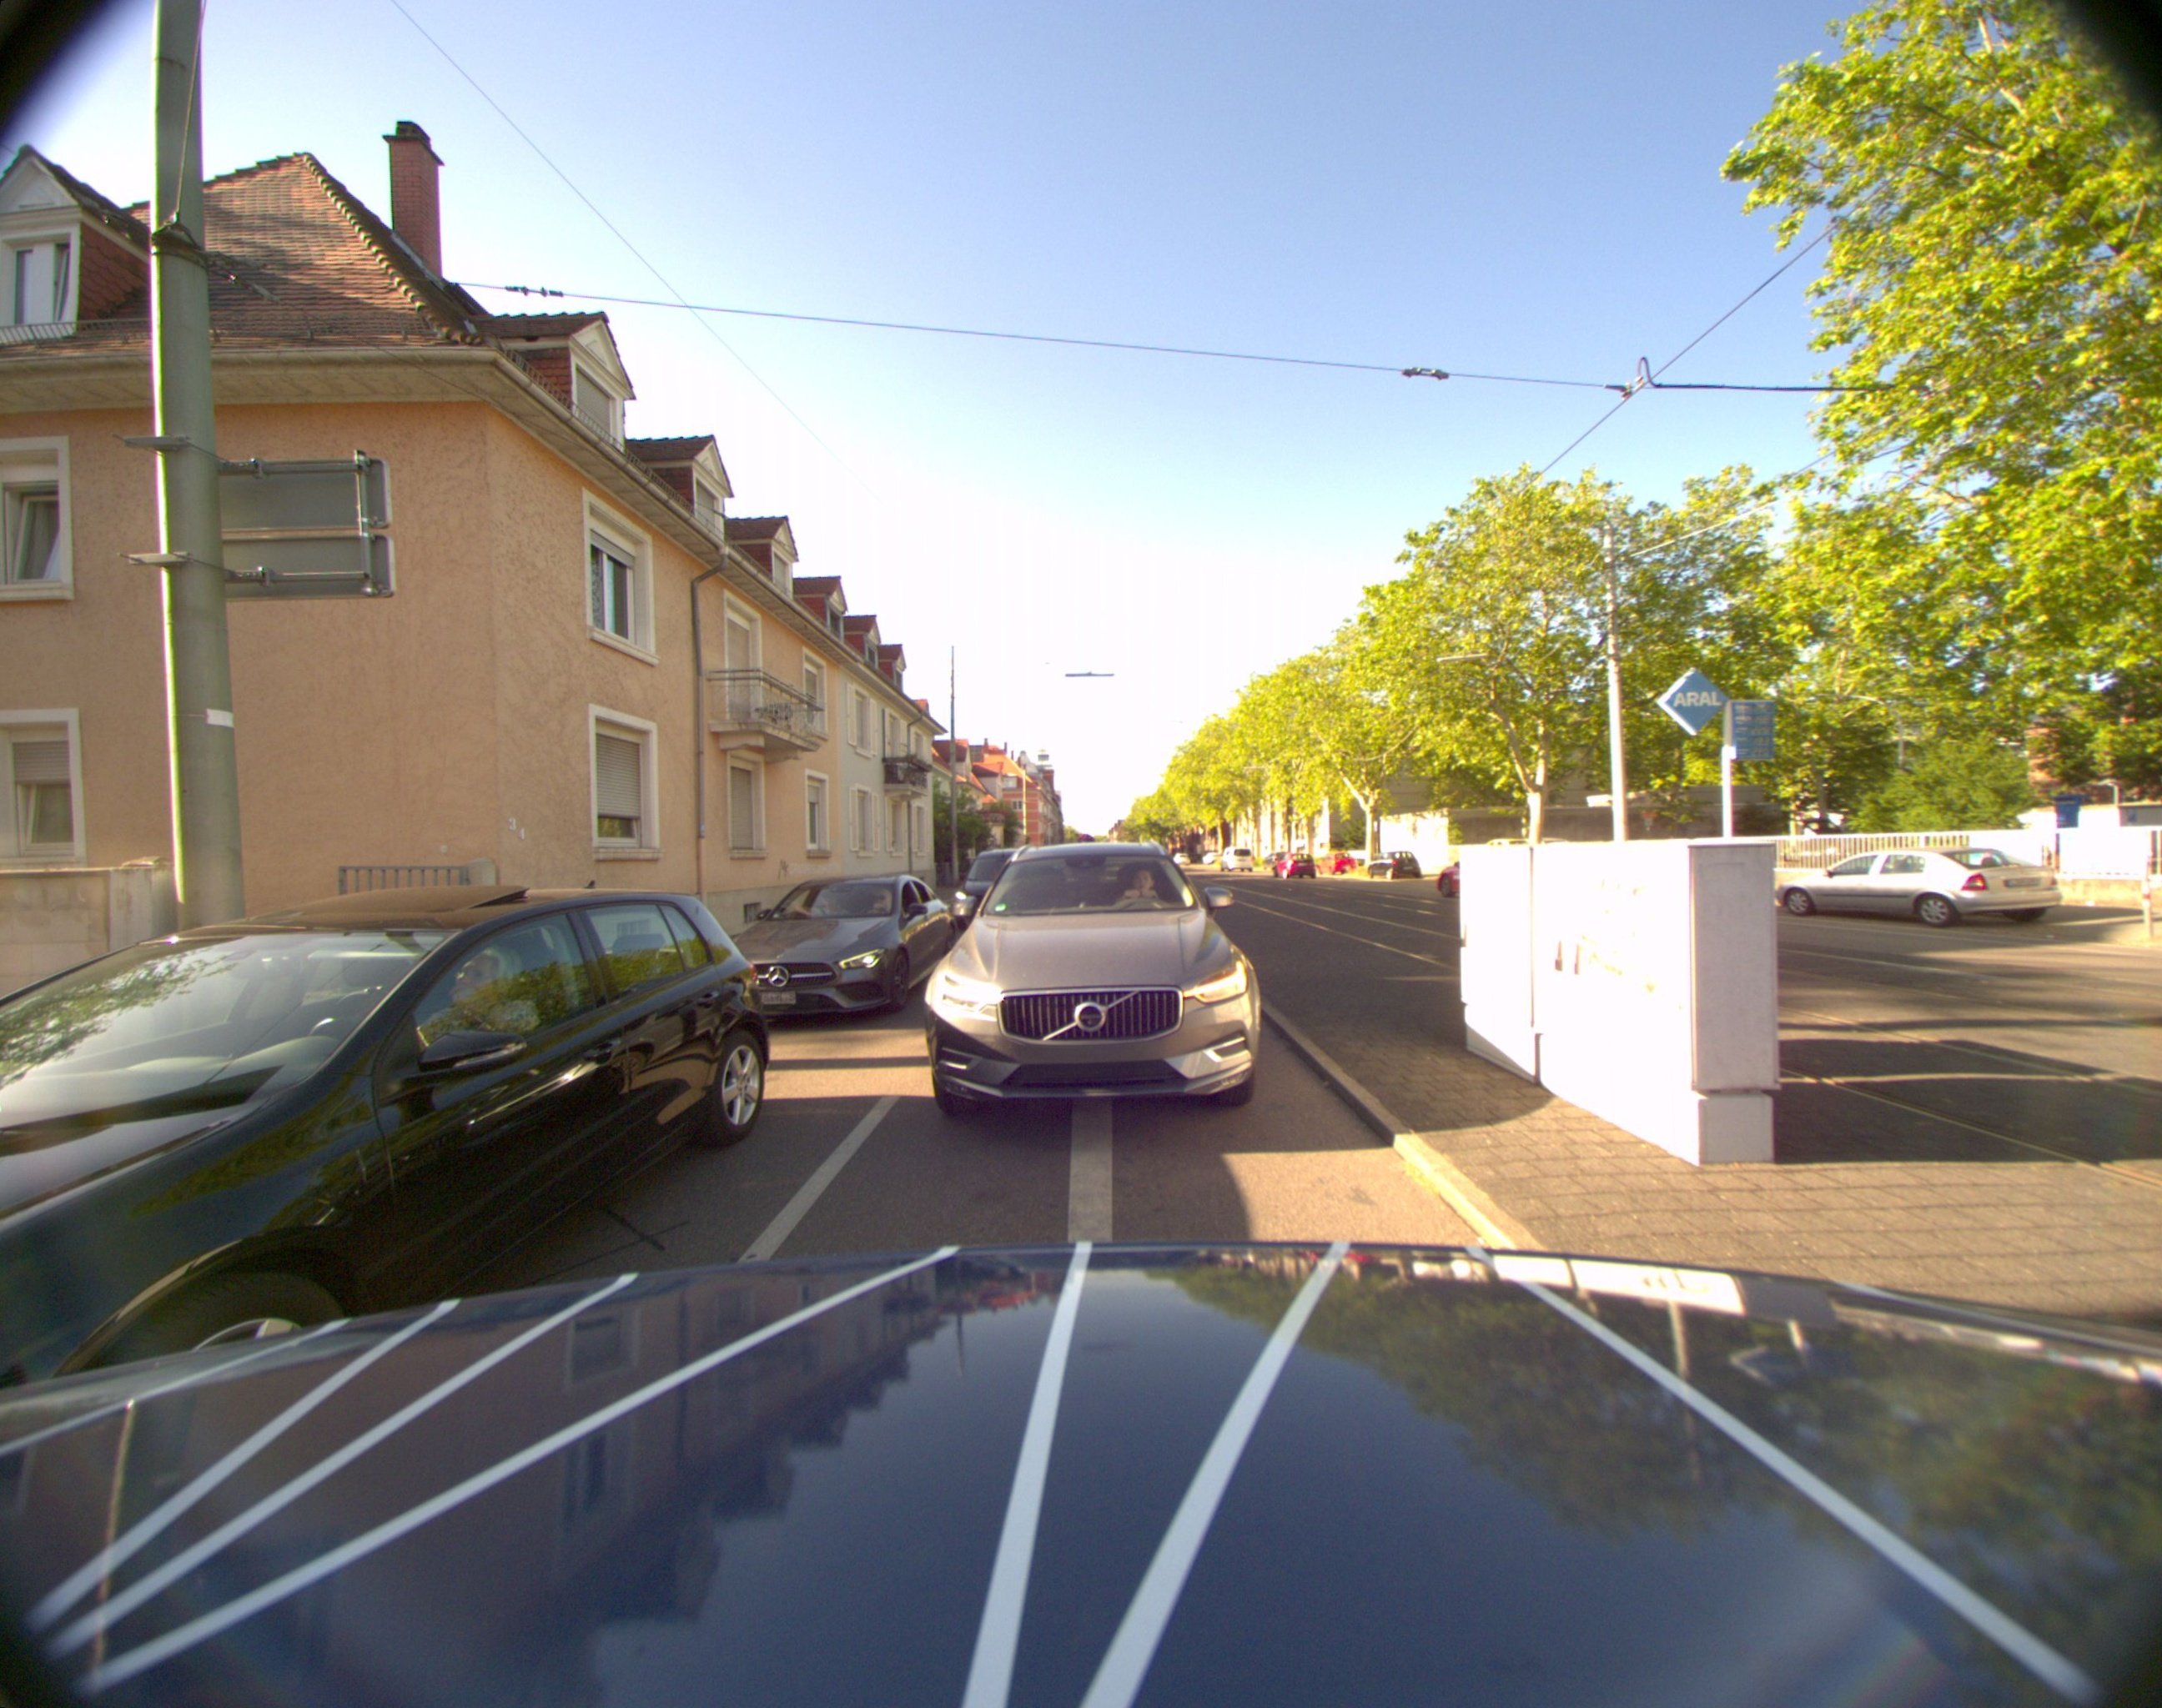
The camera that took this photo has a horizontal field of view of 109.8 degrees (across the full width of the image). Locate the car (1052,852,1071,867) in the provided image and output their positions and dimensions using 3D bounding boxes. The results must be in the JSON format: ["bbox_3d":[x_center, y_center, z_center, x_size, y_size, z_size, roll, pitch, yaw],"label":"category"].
[{"bbox_3d":[-2.177,0.594,85.437,1.841,1.449,3.999,-2,1,1],"label":"car"}]

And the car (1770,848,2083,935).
[{"bbox_3d":[16.239,0.621,14.963,1.731,1.412,3.999,-2,1,1],"label":"car"}]

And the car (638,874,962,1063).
[{"bbox_3d":[-2.787,1.054,8.823,1.911,1.411,4.492,-2,1,2],"label":"car"}]

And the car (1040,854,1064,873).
[{"bbox_3d":[-2.527,0.812,67.000,1.841,1.449,3.999,-2,1,1],"label":"car"}]

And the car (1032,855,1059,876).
[{"bbox_3d":[-2.823,0.895,60.591,1.841,1.449,3.999,-2,1,1],"label":"car"}]

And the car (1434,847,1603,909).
[{"bbox_3d":[11.860,0.582,21.066,1.912,1.514,4.763,0,1,0],"label":"car"}]

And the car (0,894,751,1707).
[{"bbox_3d":[-2.949,0.982,2.659,1.733,1.499,4.051,-2,-1,1],"label":"car"}]

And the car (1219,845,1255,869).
[{"bbox_3d":[12.454,0.212,60.799,1.850,1.835,4.394,-1,1,-1],"label":"car"}]

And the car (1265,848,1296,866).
[{"bbox_3d":[17.290,0.236,65.914,1.700,1.401,3.999,-1,1,1],"label":"car"}]

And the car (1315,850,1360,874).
[{"bbox_3d":[16.931,0.481,50.380,1.700,1.460,3.999,-1,1,1],"label":"car"}]

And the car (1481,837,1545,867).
[{"bbox_3d":[21.721,-0.106,38.315,1.545,1.412,3.151,-2,1,4],"label":"car"}]

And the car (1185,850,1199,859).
[{"bbox_3d":[18.341,0.036,125.560,1.700,1.401,3.999,-1,1,1],"label":"car"}]

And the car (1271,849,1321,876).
[{"bbox_3d":[12.026,0.442,42.749,1.700,1.412,3.999,-2,1,1],"label":"car"}]

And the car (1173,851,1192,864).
[{"bbox_3d":[12.862,0.442,96.462,1.764,1.487,3.999,-2,1,1],"label":"car"}]

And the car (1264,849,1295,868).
[{"bbox_3d":[17.172,0.329,65.994,1.700,1.566,3.999,-1,1,1],"label":"car"}]

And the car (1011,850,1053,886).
[{"bbox_3d":[-2.866,0.785,45.978,1.937,1.888,7.210,-2,1,1],"label":"car"}]

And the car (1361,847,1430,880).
[{"bbox_3d":[16.934,0.453,41.190,1.753,1.514,4.434,-5,1,-1],"label":"car"}]

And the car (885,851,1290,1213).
[{"bbox_3d":[0.039,0.858,6.081,1.912,1.666,4.763,-2,1,0],"label":"car"}]

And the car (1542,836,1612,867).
[{"bbox_3d":[24.619,-0.122,37.795,1.545,1.412,3.151,-2,1,4],"label":"car"}]

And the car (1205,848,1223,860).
[{"bbox_3d":[17.670,0.019,100.783,1.700,1.548,3.999,-1,1,1],"label":"car"}]

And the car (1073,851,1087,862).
[{"bbox_3d":[-0.152,0.283,106.490,1.841,1.449,3.999,-2,1,1],"label":"car"}]

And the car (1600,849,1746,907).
[{"bbox_3d":[16.387,0.612,21.238,1.546,1.412,3.254,-2,1,1],"label":"car"}]

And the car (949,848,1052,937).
[{"bbox_3d":[-1.789,0.803,18.414,1.866,1.794,4.778,-2,1,1],"label":"car"}]

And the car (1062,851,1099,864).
[{"bbox_3d":[-0.029,0.445,91.429,3.989,1.449,1.845,-2,1,30],"label":"car"}]

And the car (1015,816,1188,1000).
[{"bbox_3d":[0.239,0.601,11.124,1.912,2.048,4.763,-2,1,0],"label":"car"}]
